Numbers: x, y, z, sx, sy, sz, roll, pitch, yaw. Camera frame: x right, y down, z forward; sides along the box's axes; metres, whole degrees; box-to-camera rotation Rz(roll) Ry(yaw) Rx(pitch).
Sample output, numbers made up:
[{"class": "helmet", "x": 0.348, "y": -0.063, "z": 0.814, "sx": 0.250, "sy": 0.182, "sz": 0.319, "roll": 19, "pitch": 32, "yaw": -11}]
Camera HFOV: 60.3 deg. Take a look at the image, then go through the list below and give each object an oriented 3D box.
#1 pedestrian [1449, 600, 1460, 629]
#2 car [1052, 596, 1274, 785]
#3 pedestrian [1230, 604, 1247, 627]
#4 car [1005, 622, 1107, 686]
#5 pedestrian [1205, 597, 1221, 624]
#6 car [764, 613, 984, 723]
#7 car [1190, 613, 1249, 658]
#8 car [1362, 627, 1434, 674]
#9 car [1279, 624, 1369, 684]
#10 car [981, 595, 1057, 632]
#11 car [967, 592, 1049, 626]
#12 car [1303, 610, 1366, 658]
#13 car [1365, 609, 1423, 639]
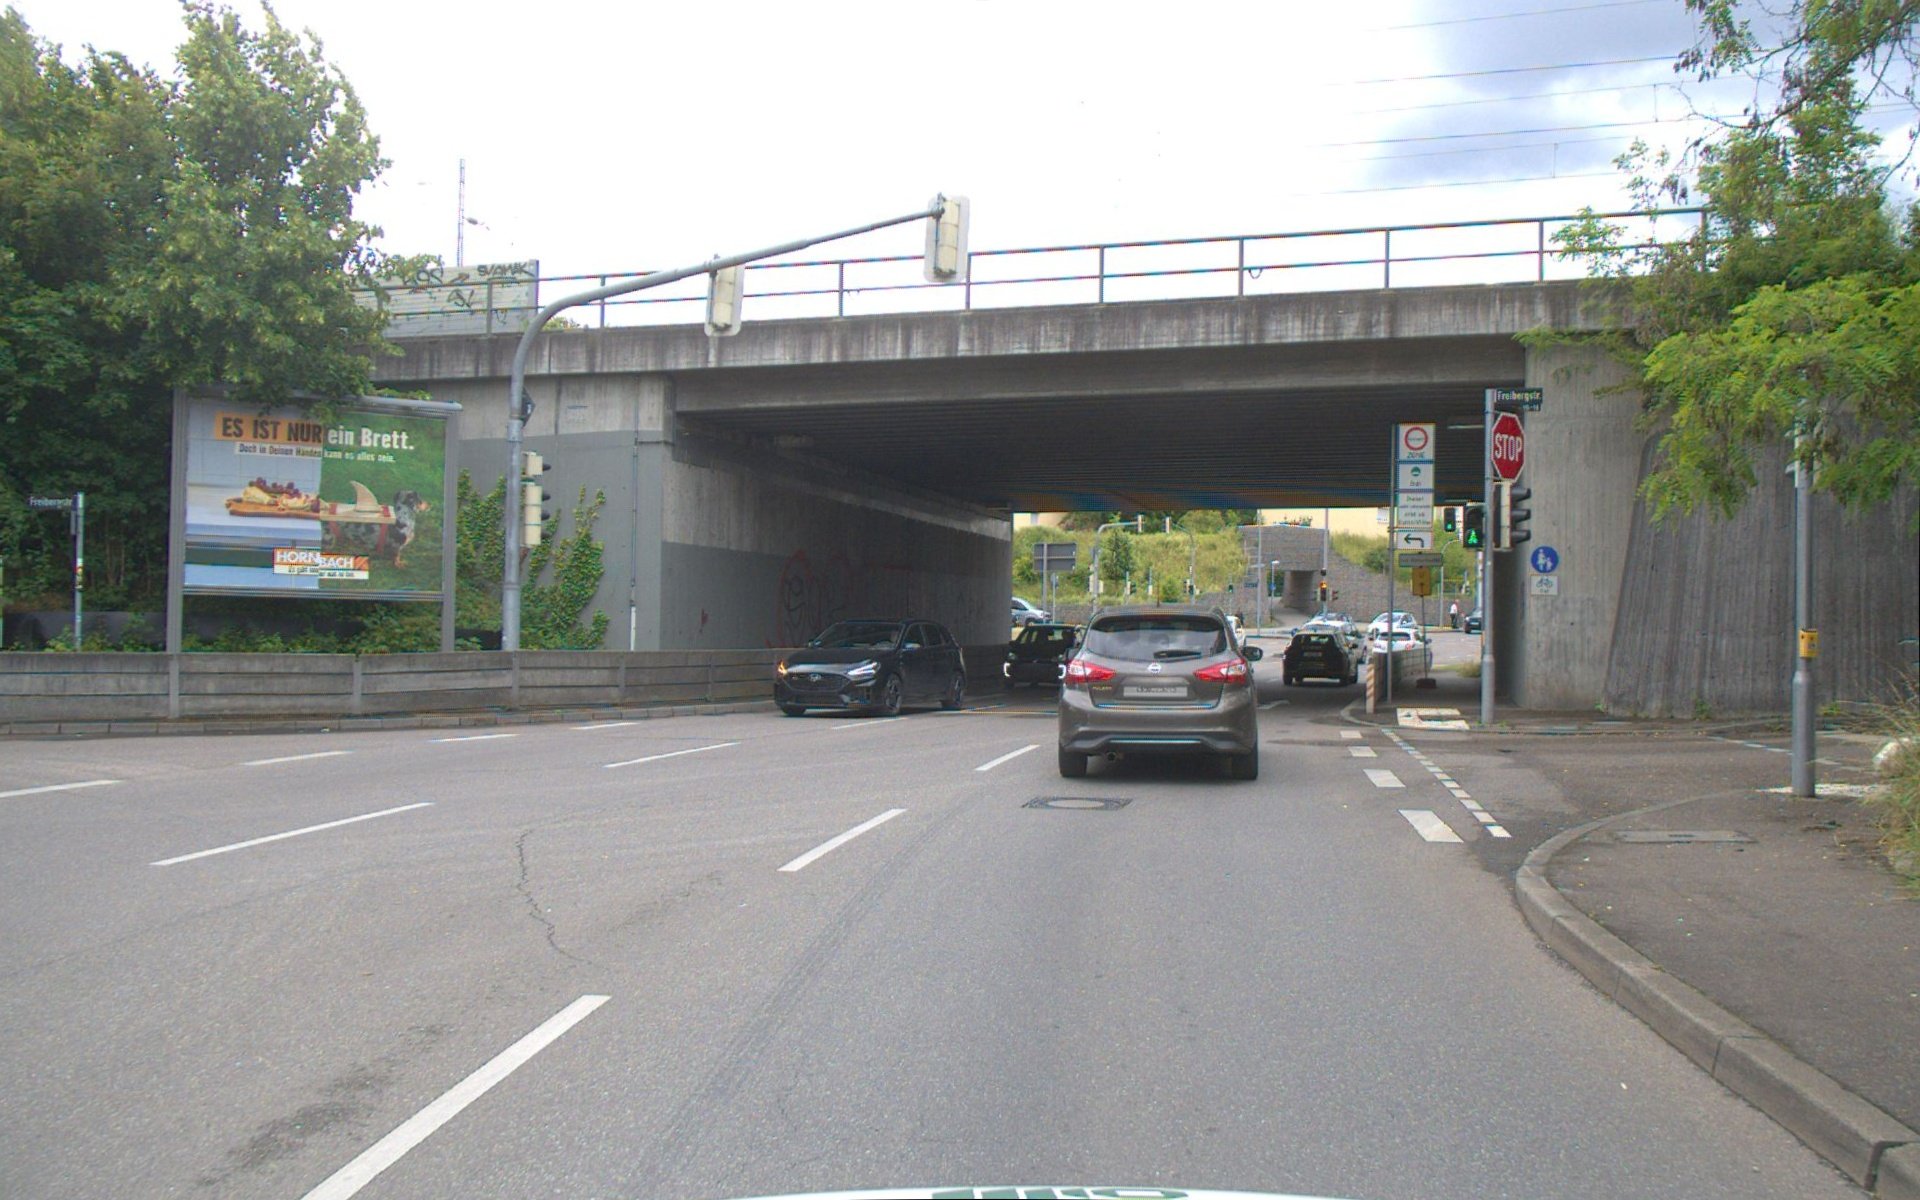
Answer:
[{"class": "pedestrian", "x": 32.345, "y": 0.936, "z": 108.188, "sx": 0.591, "sy": 1.895, "sz": 0.597, "roll": 1, "pitch": 0, "yaw": 12}, {"class": "car", "x": 1.967, "y": 0.779, "z": 15.702, "sx": 1.805, "sy": 1.519, "sz": 4.003, "roll": 1, "pitch": -1, "yaw": 8}, {"class": "pedestrian", "x": 16.028, "y": 0.874, "z": 95.164, "sx": 0.891, "sy": 1.245, "sz": 0.730, "roll": 4, "pitch": 1, "yaw": 8}, {"class": "car", "x": 2.322, "y": 1.262, "z": 39.066, "sx": 1.687, "sy": 1.434, "sz": 4.003, "roll": 0, "pitch": -1, "yaw": 14}, {"class": "pedestrian", "x": 15.336, "y": 0.628, "z": 100.317, "sx": 0.932, "sy": 1.641, "sz": 0.700, "roll": 1, "pitch": 0, "yaw": 7}, {"class": "car", "x": -1.220, "y": 0.995, "z": 25.490, "sx": 1.779, "sy": 1.503, "sz": 4.136, "roll": 1, "pitch": -1, "yaw": 22}, {"class": "car", "x": 10.339, "y": 1.426, "z": 65.703, "sx": 1.745, "sy": 1.689, "sz": 4.110, "roll": 1, "pitch": -1, "yaw": 17}, {"class": "car", "x": 16.204, "y": 1.832, "z": 61.084, "sx": 1.954, "sy": 1.646, "sz": 3.998, "roll": 0, "pitch": -1, "yaw": 24}, {"class": "car", "x": 9.973, "y": 1.443, "z": 45.142, "sx": 1.860, "sy": 1.492, "sz": 4.001, "roll": 1, "pitch": 0, "yaw": 20}, {"class": "car", "x": 3.288, "y": 0.734, "z": 92.150, "sx": 3.902, "sy": 1.982, "sz": 2.001, "roll": 1, "pitch": -1, "yaw": 15}, {"class": "car", "x": 2.531, "y": 0.476, "z": 87.701, "sx": 3.905, "sy": 1.624, "sz": 1.872, "roll": 2, "pitch": 0, "yaw": 21}, {"class": "car", "x": 14.447, "y": 1.291, "z": 63.721, "sx": 1.792, "sy": 1.736, "sz": 3.869, "roll": 2, "pitch": 0, "yaw": 21}, {"class": "car", "x": 24.576, "y": 1.342, "z": 93.620, "sx": 1.959, "sy": 1.668, "sz": 3.986, "roll": 0, "pitch": 0, "yaw": 35}]
